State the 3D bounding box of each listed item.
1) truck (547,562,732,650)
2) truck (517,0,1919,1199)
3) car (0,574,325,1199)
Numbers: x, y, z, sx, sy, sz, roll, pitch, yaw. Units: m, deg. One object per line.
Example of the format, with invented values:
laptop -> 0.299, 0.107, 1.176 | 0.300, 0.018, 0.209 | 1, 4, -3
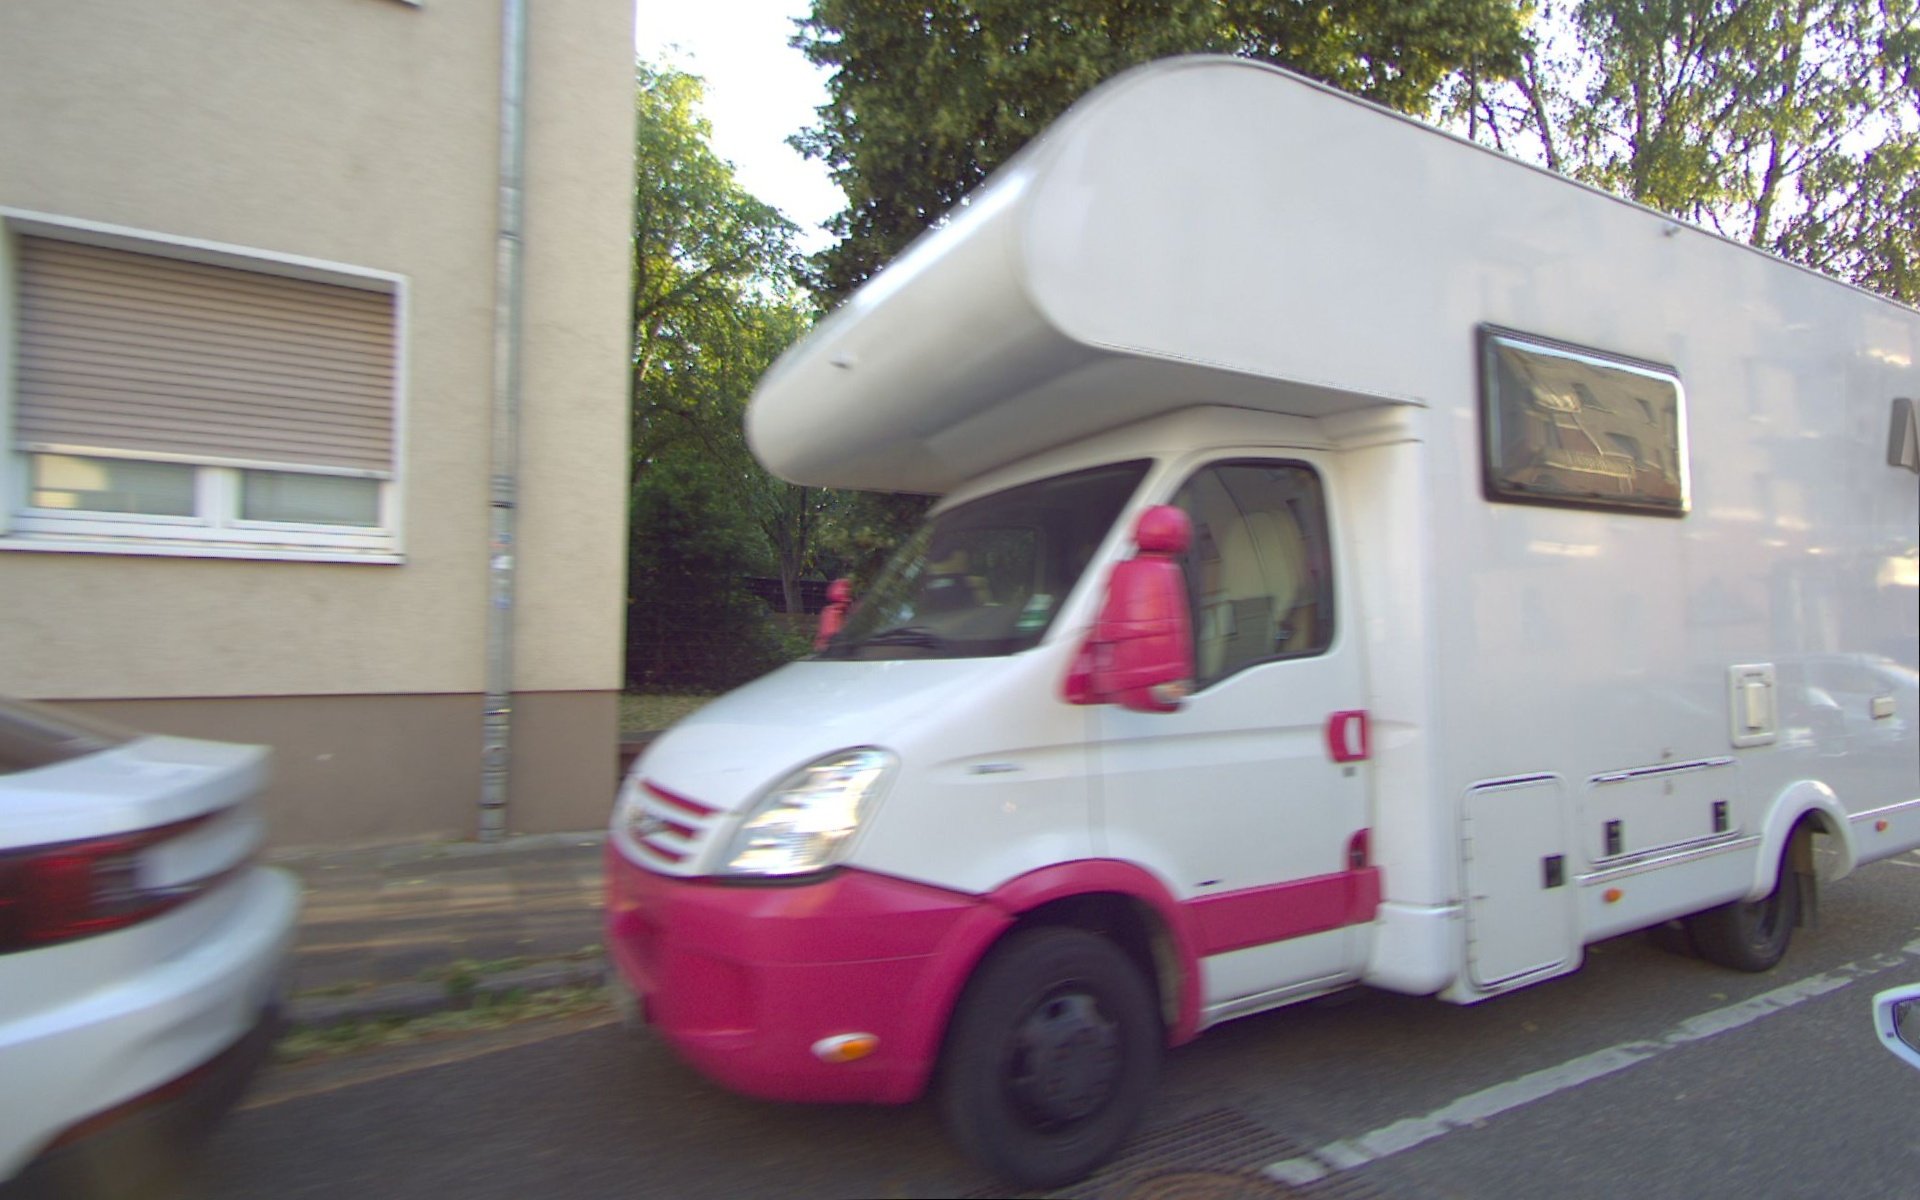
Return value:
truck -> -10.757, 0.236, 33.932 | 5.460, 2.741, 2.224 | 2, 1, -37
truck -> 2.256, -0.082, 4.989 | 7.921, 3.397, 2.515 | 2, -4, -30
car -> -3.866, 0.699, 1.446 | 4.851, 1.496, 1.899 | 2, -3, -30
